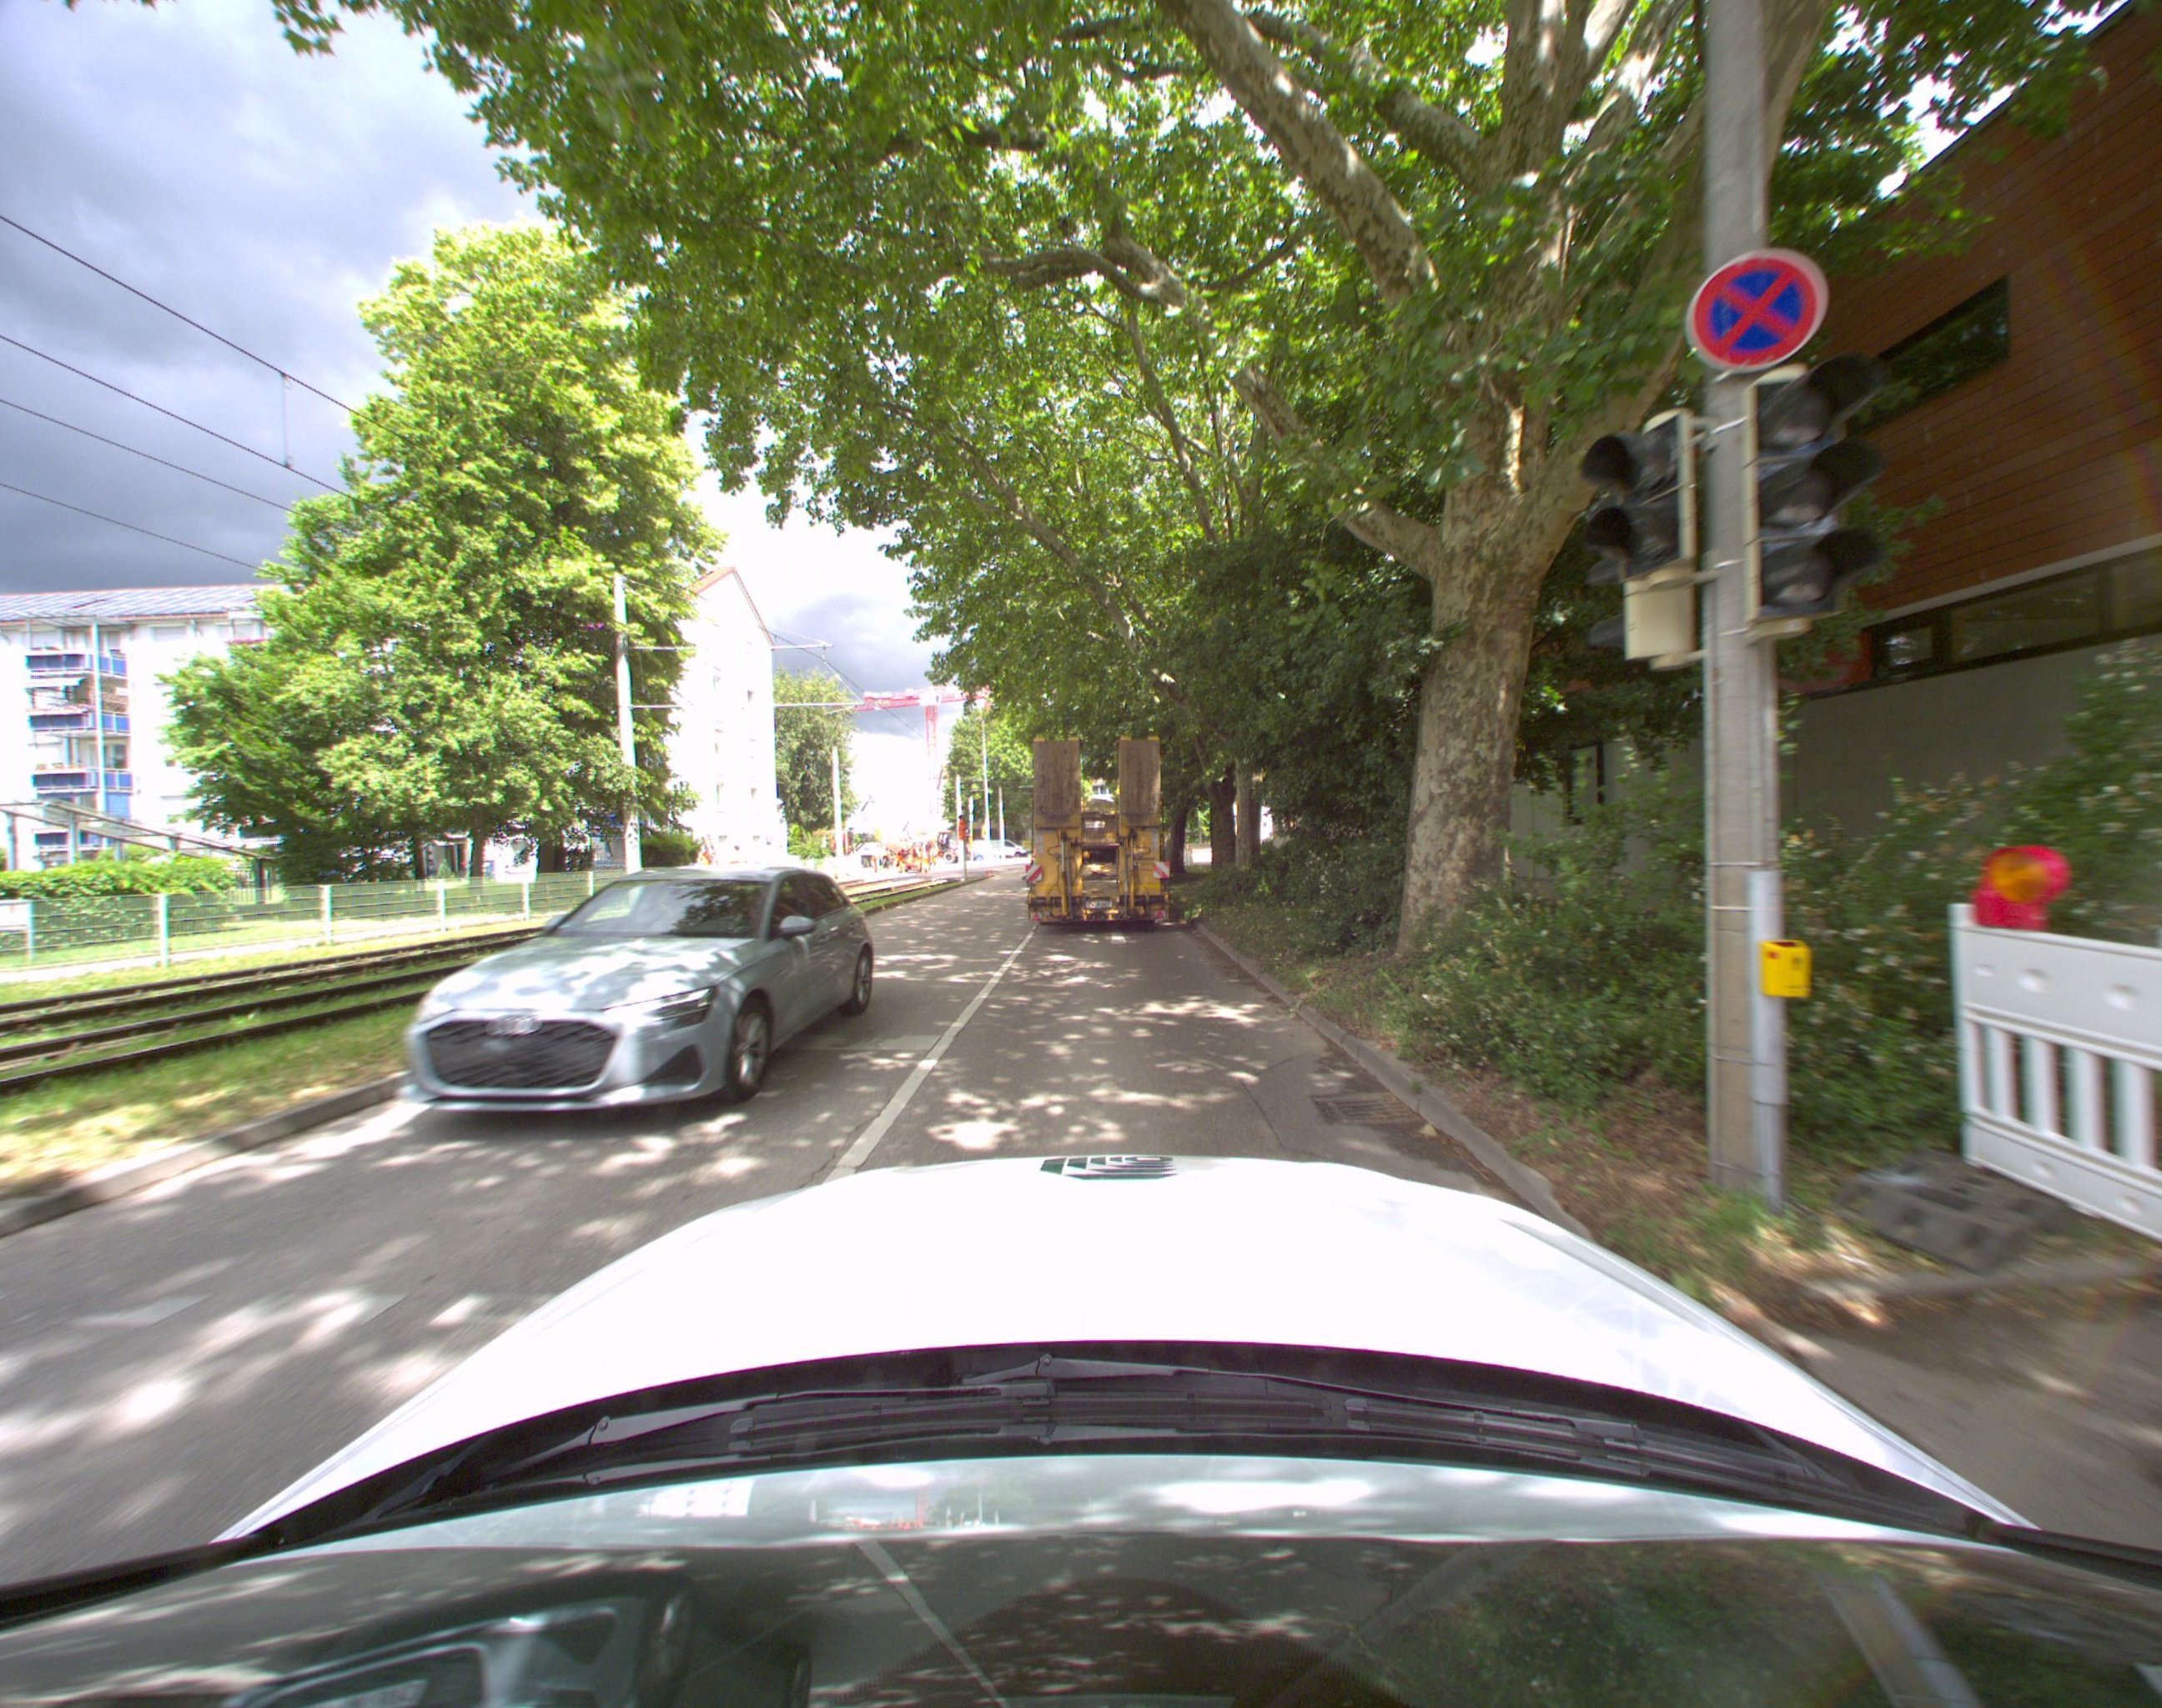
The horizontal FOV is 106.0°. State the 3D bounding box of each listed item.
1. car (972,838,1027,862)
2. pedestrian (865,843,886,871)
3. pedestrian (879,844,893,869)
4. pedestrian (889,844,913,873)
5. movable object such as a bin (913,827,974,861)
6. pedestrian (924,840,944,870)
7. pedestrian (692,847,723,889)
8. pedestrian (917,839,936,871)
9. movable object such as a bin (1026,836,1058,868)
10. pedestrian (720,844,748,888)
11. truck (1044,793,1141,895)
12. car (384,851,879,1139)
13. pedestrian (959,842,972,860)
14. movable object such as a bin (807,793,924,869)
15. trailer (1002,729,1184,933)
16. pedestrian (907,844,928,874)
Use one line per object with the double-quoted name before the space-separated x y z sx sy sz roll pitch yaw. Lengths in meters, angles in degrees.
"car" -7.919 -0.392 78.782 5.095 2.101 1.968 -2 1 -13
"pedestrian" -12.577 0.177 49.826 0.826 1.645 0.894 -1 0 39
"pedestrian" -13.051 0.141 54.501 0.887 1.645 0.895 -1 0 -16
"pedestrian" -10.912 0.245 49.384 1.117 1.715 0.877 -1 0 -43
"movable object such as a bin" -11.249 -0.789 66.598 4.326 2.629 2.234 -1 0 27
"pedestrian" -9.240 0.067 51.103 0.877 1.867 0.842 -1 0 30
"pedestrian" -14.652 0.532 31.961 0.729 1.625 0.867 -1 0 1
"pedestrian" -9.307 0.067 48.924 0.890 1.867 0.830 -1 0 -28
"movable object such as a bin" -2.492 -0.133 52.607 1.389 2.013 2.565 -1 0 12
"pedestrian" -13.743 0.467 32.290 0.697 1.718 0.867 -1 0 1
"truck" 0.428 -0.330 29.395 2.979 3.135 7.889 -1 0 1
"car" -2.826 0.729 6.198 1.631 1.435 3.850 -1 1 -1
"pedestrian" -8.993 -0.241 63.553 0.913 1.409 0.752 -1 0 -1
"movable object such as a bin" -16.529 -1.650 62.185 9.116 5.414 2.680 -1 0 27
"trailer" 0.326 -0.442 19.898 3.143 3.552 11.099 -1 0 1
"pedestrian" -9.610 0.276 47.922 0.878 1.760 0.841 -1 0 18
